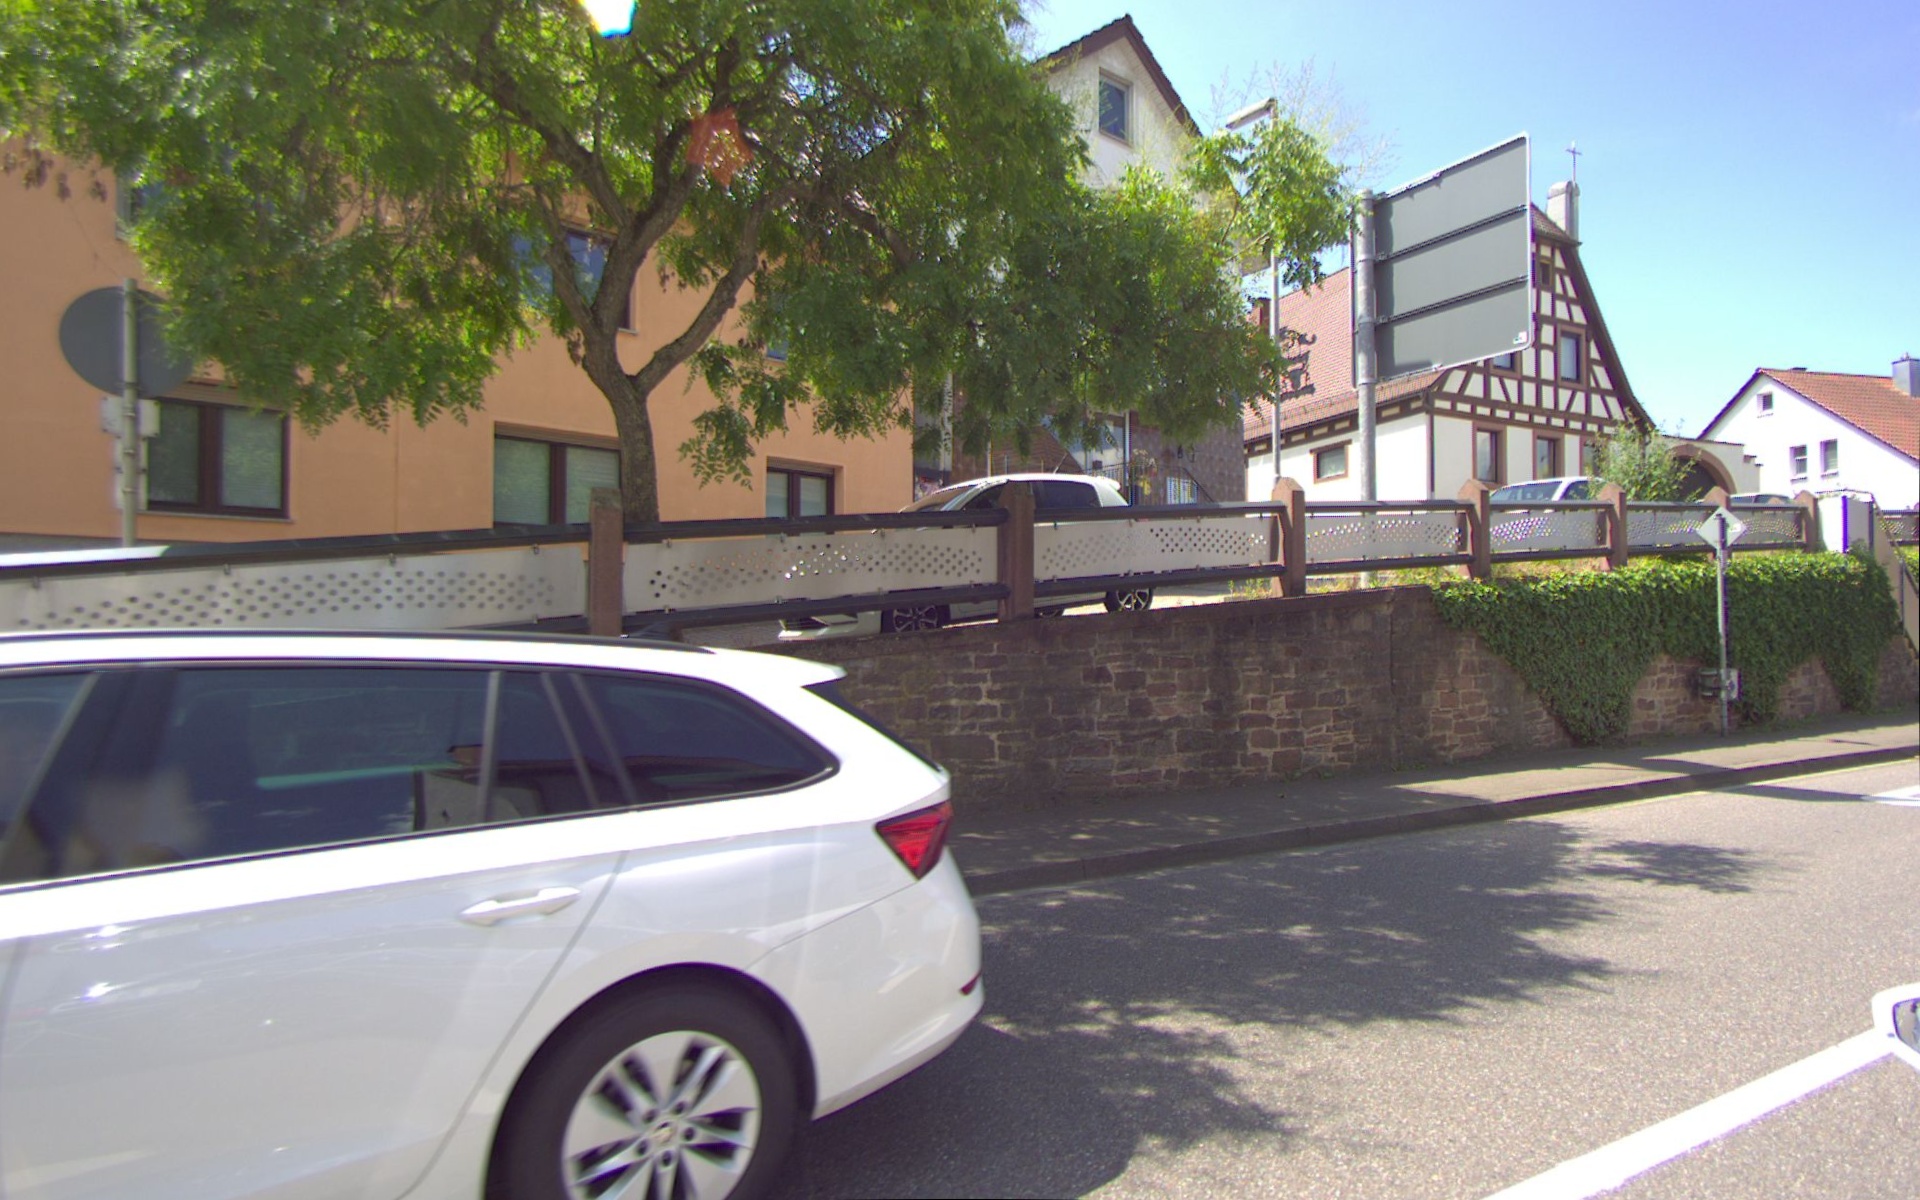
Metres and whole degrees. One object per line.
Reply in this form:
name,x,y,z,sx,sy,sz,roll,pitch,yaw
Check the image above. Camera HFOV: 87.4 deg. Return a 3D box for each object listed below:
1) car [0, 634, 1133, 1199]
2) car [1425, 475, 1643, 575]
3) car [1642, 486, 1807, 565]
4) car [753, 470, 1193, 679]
car,-1.840,0.831,2.538,4.379,1.465,1.805,1,-3,-31
car,9.624,-1.269,16.760,3.813,1.380,1.567,-6,3,-33
car,16.115,-1.578,21.131,3.813,1.380,1.567,-6,3,-33
car,0.200,-0.321,9.532,3.813,1.564,1.684,-6,3,-33
